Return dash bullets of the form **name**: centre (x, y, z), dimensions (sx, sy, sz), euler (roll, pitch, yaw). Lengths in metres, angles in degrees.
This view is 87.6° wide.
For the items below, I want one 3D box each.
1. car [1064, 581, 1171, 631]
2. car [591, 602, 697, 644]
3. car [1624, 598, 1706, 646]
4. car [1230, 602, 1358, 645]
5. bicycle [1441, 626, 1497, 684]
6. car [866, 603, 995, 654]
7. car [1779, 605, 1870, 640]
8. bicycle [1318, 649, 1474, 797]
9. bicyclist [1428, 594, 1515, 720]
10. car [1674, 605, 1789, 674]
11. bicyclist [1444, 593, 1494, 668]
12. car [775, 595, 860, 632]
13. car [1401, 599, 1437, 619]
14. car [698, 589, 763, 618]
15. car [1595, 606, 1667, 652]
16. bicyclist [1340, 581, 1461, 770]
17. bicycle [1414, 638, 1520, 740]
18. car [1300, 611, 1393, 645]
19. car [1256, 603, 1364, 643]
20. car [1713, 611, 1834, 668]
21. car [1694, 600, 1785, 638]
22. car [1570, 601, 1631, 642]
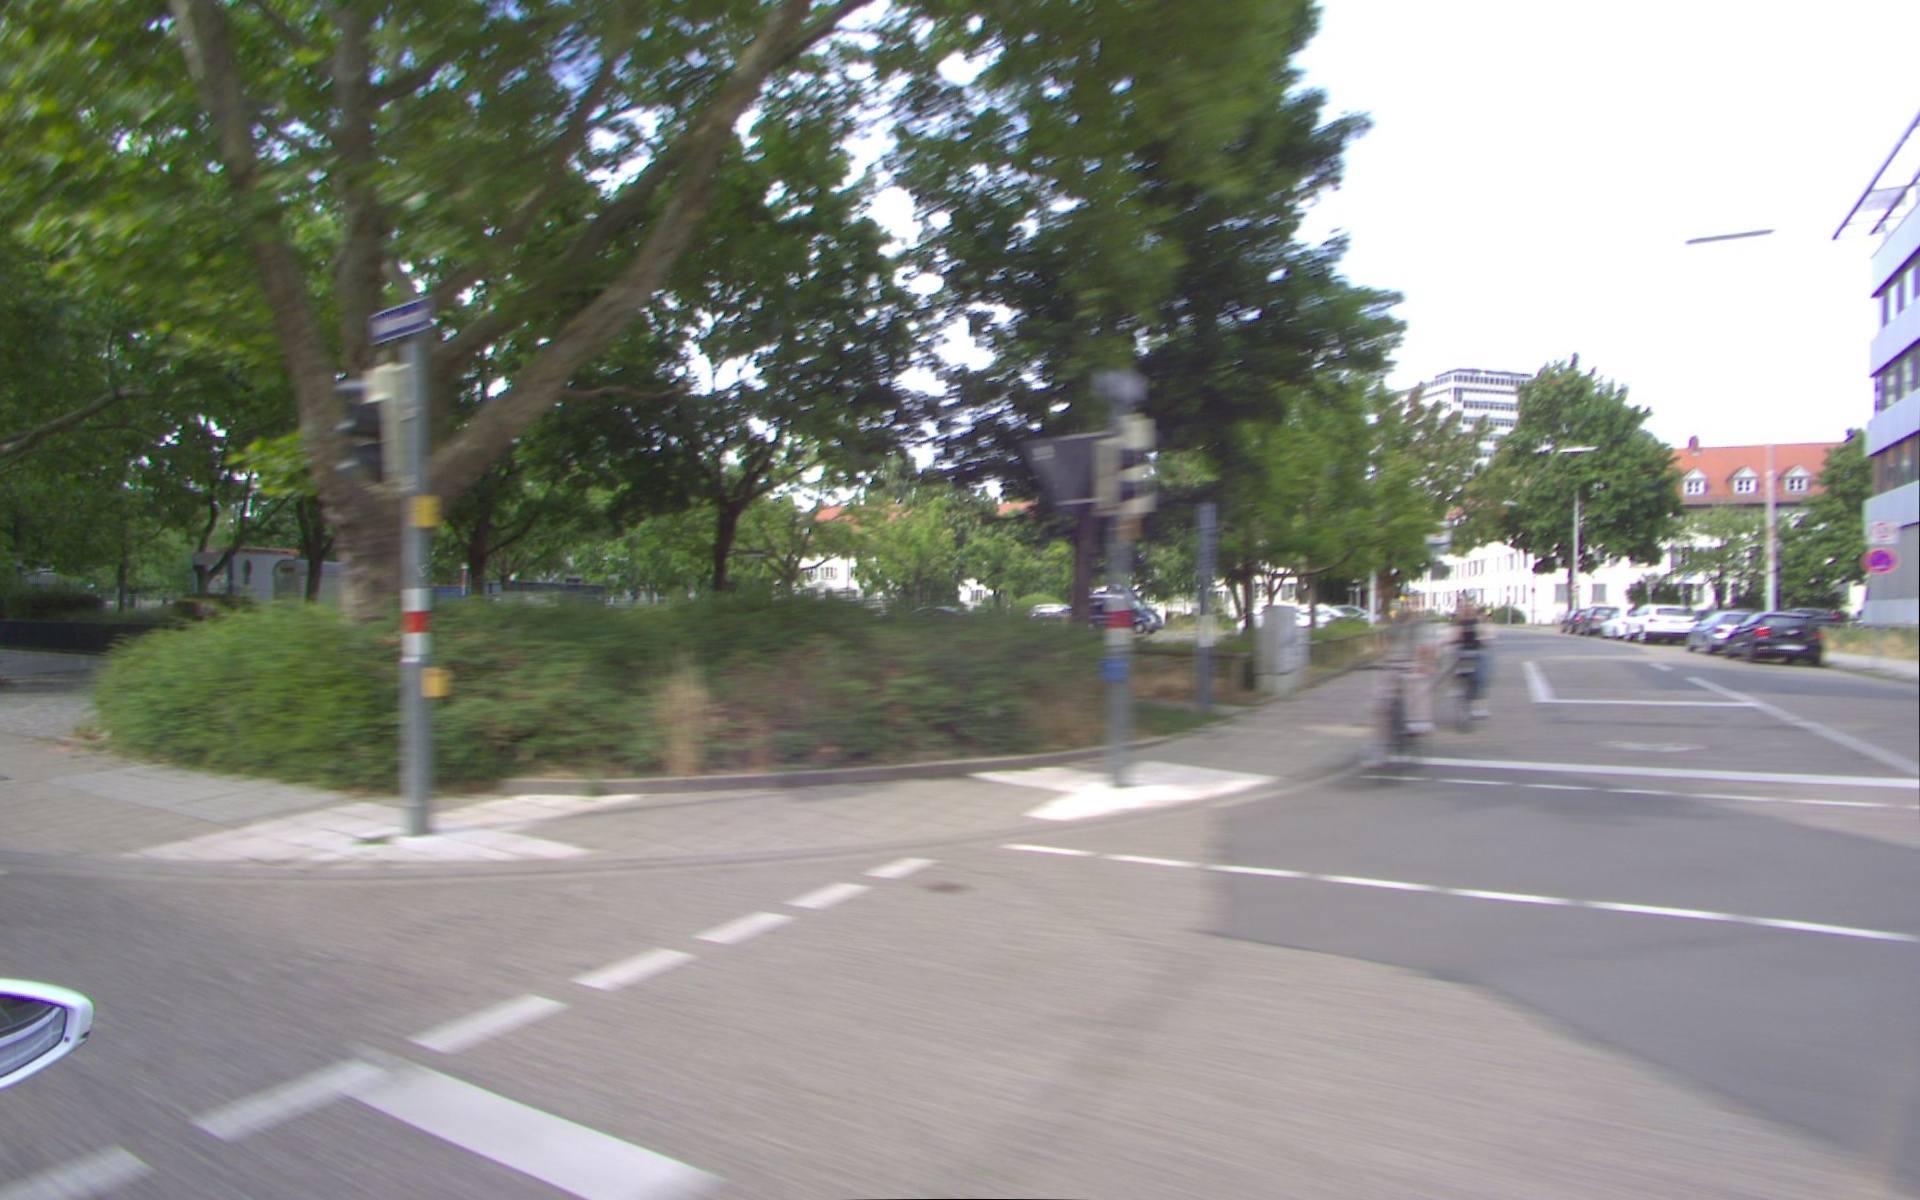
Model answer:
- **car**: centre (8.844, 0.321, 56.463), dimensions (5.412, 2.647, 2.434), euler (1, -2, 29)
- **car**: centre (-14.781, 1.050, 46.774), dimensions (4.699, 1.817, 1.993), euler (1, -2, 29)
- **car**: centre (29.333, 0.942, 41.786), dimensions (1.920, 1.885, 3.871), euler (1, -2, 22)
- **car**: centre (13.933, 0.979, 41.859), dimensions (4.705, 1.651, 1.990), euler (1, -2, 33)
- **bicycle**: centre (11.158, 1.165, 21.910), dimensions (0.902, 1.187, 2.240), euler (-1, -1, 32)
- **car**: centre (-1.170, 1.106, 39.380), dimensions (4.699, 1.817, 1.993), euler (1, -2, 29)
- **car**: centre (52.976, 1.397, 61.480), dimensions (3.943, 2.039, 1.990), euler (1, -2, 33)
- **bicycle**: centre (4.232, 1.093, 9.608), dimensions (0.904, 1.187, 2.237), euler (-1, -1, 36)
- **bicyclist**: centre (6.766, 0.735, 13.243), dimensions (0.904, 1.597, 0.826), euler (-1, -1, 36)
- **car**: centre (25.023, 1.282, 32.641), dimensions (1.966, 2.039, 3.992), euler (1, -2, 22)
- **bicyclist**: centre (11.150, 0.671, 21.913), dimensions (0.902, 1.597, 0.827), euler (-1, -1, 33)
- **car**: centre (-8.446, 0.805, 59.238), dimensions (4.697, 2.039, 1.994), euler (1, -2, 27)
- **car**: centre (37.161, 0.722, 81.211), dimensions (1.687, 1.471, 4.000), euler (1, -2, 10)
- **car**: centre (-17.450, 0.255, 76.101), dimensions (4.699, 2.039, 1.993), euler (1, -2, 29)
- **car**: centre (31.238, 1.372, 46.738), dimensions (1.966, 2.039, 3.992), euler (1, -2, 22)
- **bicyclist**: centre (4.233, 0.693, 9.612), dimensions (0.904, 1.700, 0.826), euler (-1, -1, 36)
- **bicycle**: centre (6.689, 1.105, 13.146), dimensions (0.904, 1.187, 2.237), euler (-1, -1, 36)
- **car**: centre (22.034, 1.602, 57.055), dimensions (4.699, 1.817, 1.993), euler (1, -2, 29)
- **car**: centre (17.065, 1.106, 48.863), dimensions (4.700, 1.817, 1.992), euler (1, -2, 29)
- **car**: centre (22.875, 1.108, 28.320), dimensions (1.647, 1.462, 3.644), euler (1, -2, 22)
- **car**: centre (45.069, 1.106, 58.007), dimensions (3.942, 2.039, 1.991), euler (1, -2, 32)
- **car**: centre (33.435, 1.158, 52.354), dimensions (1.966, 2.039, 3.992), euler (1, -2, 22)
